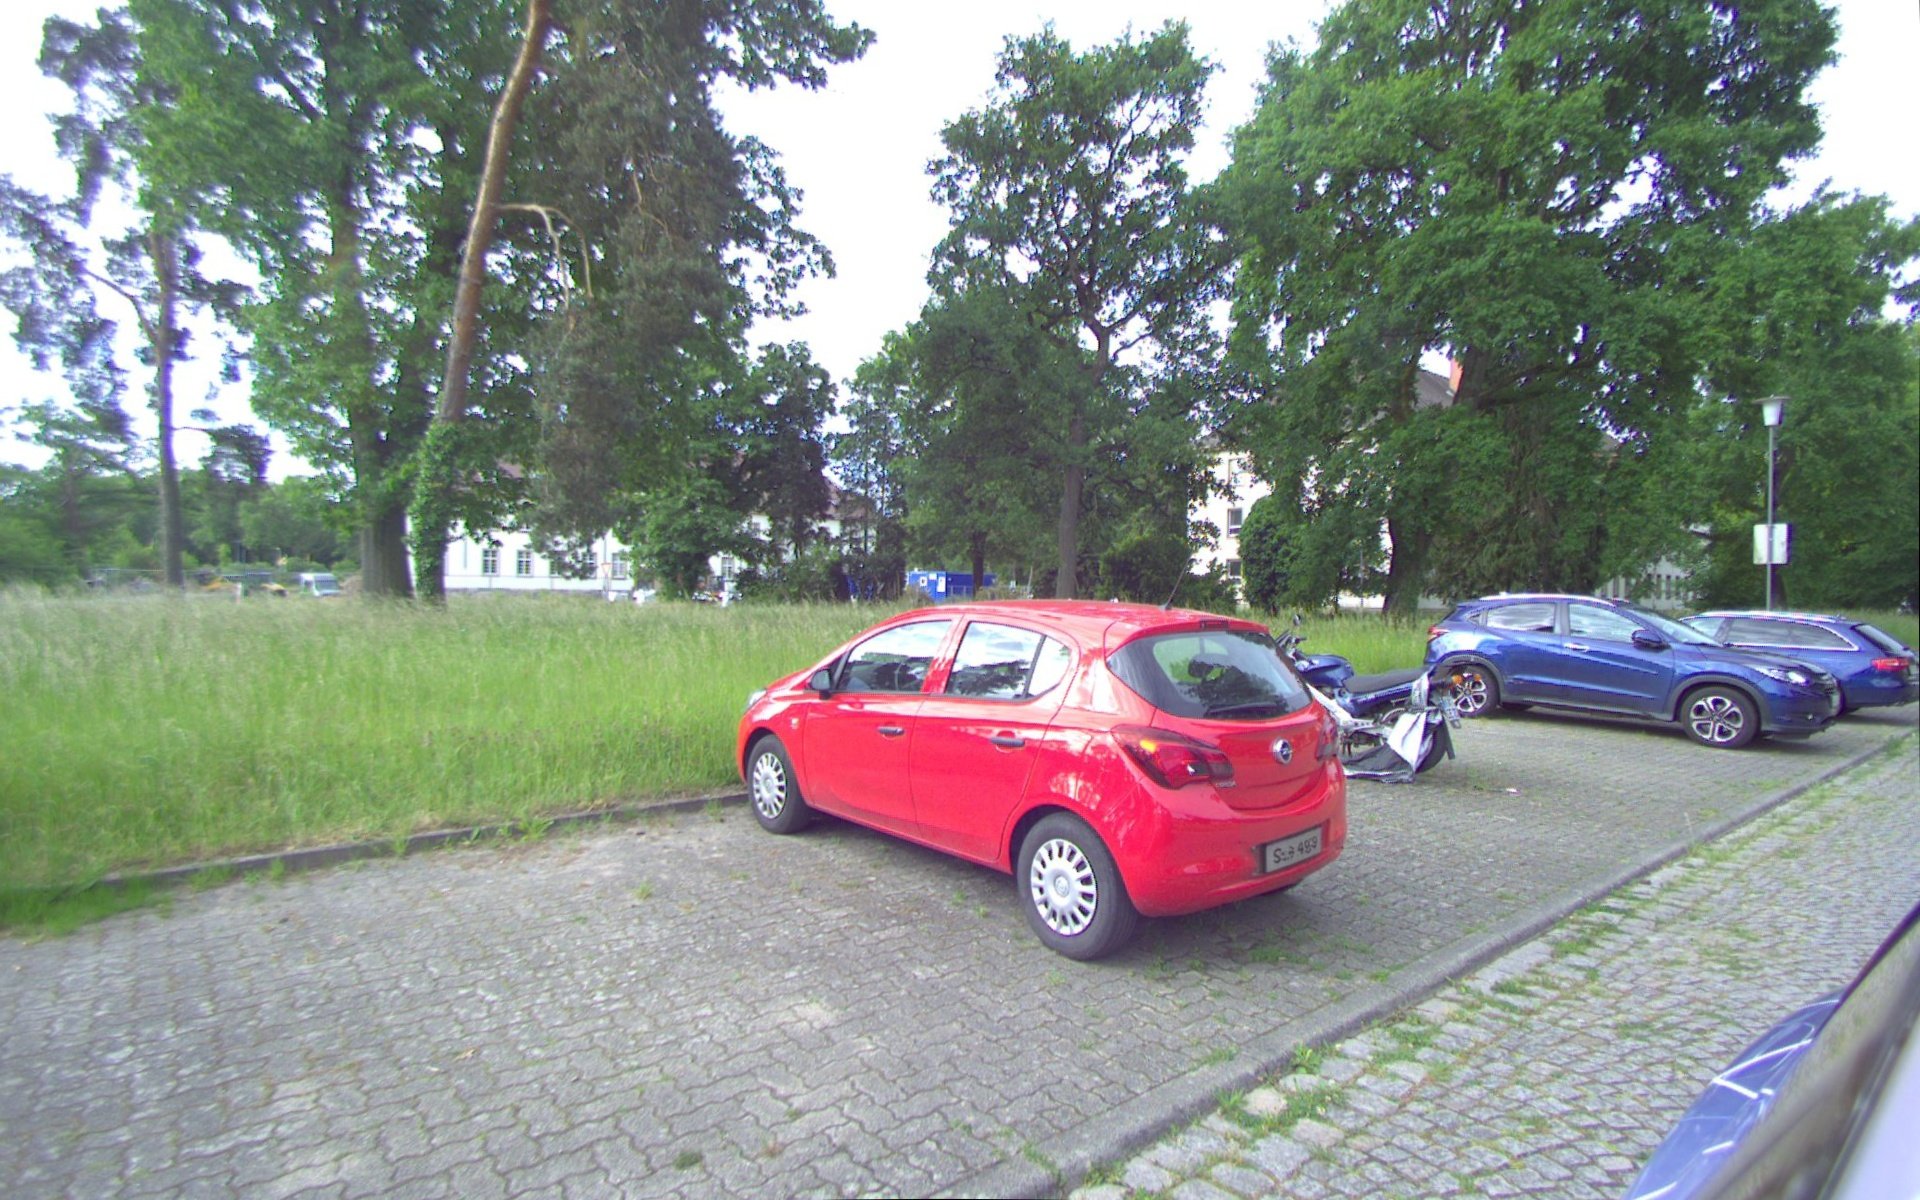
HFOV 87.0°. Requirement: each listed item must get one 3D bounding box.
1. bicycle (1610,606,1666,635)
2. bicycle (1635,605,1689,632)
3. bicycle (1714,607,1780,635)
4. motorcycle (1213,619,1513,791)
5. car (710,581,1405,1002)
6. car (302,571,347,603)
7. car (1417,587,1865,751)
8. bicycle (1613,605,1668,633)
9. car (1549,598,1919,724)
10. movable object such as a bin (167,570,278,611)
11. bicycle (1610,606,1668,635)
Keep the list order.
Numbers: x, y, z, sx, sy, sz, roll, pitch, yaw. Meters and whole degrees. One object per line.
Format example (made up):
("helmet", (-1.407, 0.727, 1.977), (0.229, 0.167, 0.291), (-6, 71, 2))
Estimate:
("bicycle", (27.527, 0.807, 41.123), (1.840, 1.137, 0.616), (0, 0, 27))
("bicycle", (30.314, 0.788, 43.731), (1.840, 1.137, 0.616), (0, 0, 27))
("bicycle", (31.570, 0.837, 40.628), (2.010, 1.090, 0.616), (0, 0, 28))
("motorcycle", (3.447, 0.827, 8.886), (0.782, 1.200, 2.330), (0, 1, -42))
("car", (0.247, 0.683, 5.803), (1.748, 1.478, 3.834), (0, 2, -40))
("car", (-49.931, -1.001, 79.459), (4.580, 2.378, 1.888), (0, 0, 43))
("car", (7.989, 0.655, 12.211), (1.761, 1.591, 4.171), (-1, 1, -40))
("bicycle", (28.532, 0.804, 42.464), (1.840, 1.137, 0.616), (0, 0, 27))
("car", (11.579, 0.773, 15.110), (1.751, 1.439, 4.484), (1, 2, -37))
("movable object such as a bin", (-49.101, -0.612, 67.446), (5.866, 2.688, 2.174), (0, 0, 1))
("bicycle", (27.201, 0.809, 40.576), (1.840, 1.137, 0.616), (0, 0, 27))
